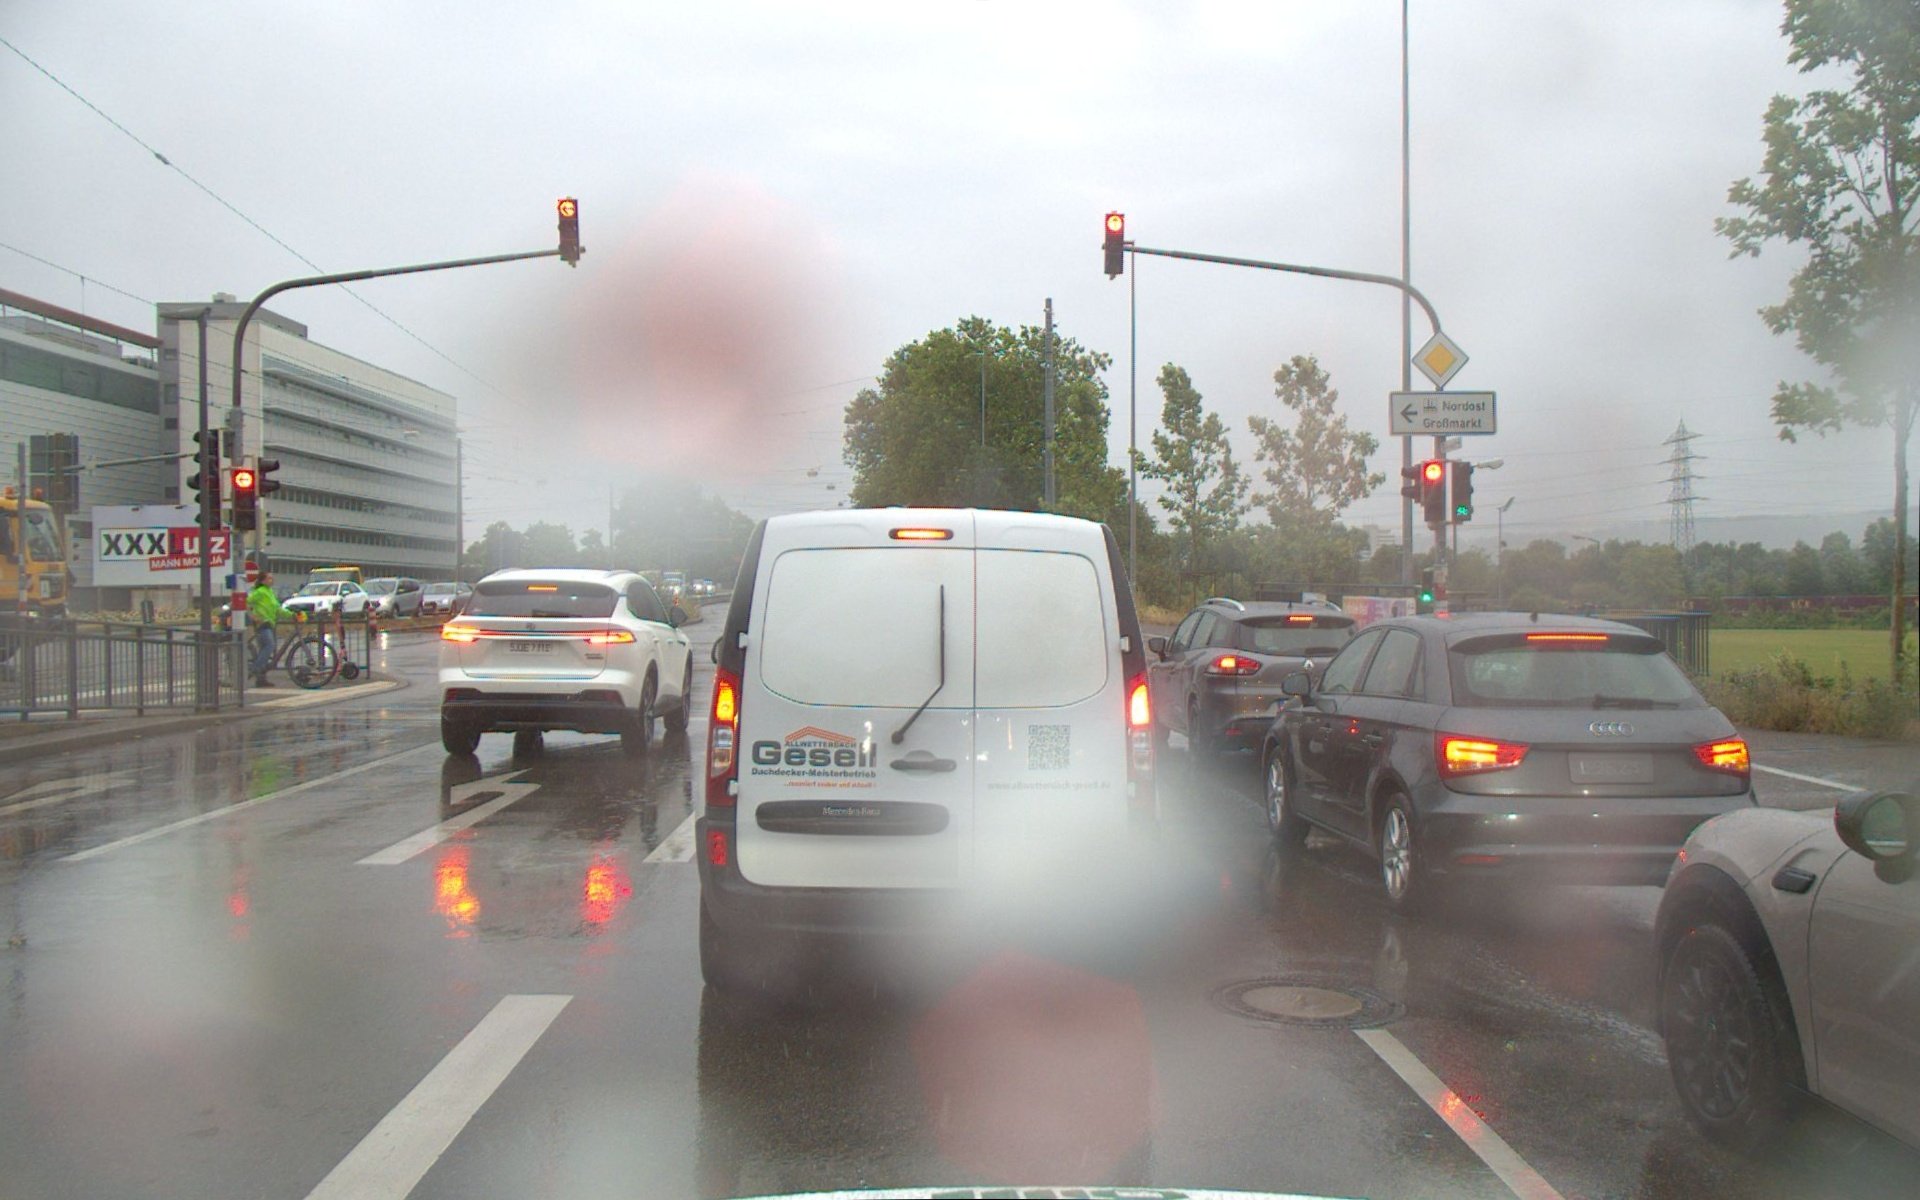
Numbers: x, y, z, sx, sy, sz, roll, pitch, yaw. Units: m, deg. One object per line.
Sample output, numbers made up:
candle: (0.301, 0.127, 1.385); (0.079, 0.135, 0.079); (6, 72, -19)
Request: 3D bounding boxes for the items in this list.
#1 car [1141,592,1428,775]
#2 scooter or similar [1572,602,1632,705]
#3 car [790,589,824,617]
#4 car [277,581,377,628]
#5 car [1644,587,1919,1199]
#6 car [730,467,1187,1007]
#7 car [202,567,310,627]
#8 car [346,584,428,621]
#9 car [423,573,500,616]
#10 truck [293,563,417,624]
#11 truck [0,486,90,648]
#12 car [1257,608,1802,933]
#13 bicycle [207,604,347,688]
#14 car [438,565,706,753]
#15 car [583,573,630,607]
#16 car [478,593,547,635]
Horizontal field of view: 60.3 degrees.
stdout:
car: (2.891, 0.686, 15.556); (1.822, 1.453, 3.806); (1, 1, -2)
scooter or similar: (7.584, 0.614, 19.565); (0.240, 1.178, 1.186); (1, 0, 1)
car: (-8.712, 0.159, 94.092); (1.585, 1.530, 3.706); (1, 0, -10)
car: (-21.670, 0.154, 56.787); (1.662, 1.518, 3.878); (1, 0, 5)
car: (2.968, 0.756, 3.212); (1.679, 1.534, 3.622); (1, 0, -2)
car: (-0.029, 0.468, 7.596); (1.534, 1.819, 3.999); (0, 0, -1)
car: (-25.293, -0.103, 59.590); (1.952, 2.049, 4.002); (1, 0, 3)
car: (-21.679, 0.110, 62.739); (1.554, 1.359, 3.832); (1, -1, 4)
car: (-21.056, -0.213, 70.028); (1.853, 1.729, 4.001); (1, 0, 3)
truck: (-24.842, -0.237, 68.324); (2.303, 2.319, 7.632); (1, 0, 0)
truck: (-19.894, -0.618, 29.753); (7.001, 2.865, 2.631); (1, 0, -14)
car: (2.790, 0.749, 8.950); (1.596, 1.368, 3.622); (1, 0, -2)
bicycle: (-9.613, 0.641, 23.292); (1.716, 1.052, 0.414); (4, -1, -3)
car: (-3.597, 0.474, 16.086); (1.694, 1.562, 4.296); (1, 1, -2)
car: (-22.111, -0.619, 103.596); (1.952, 2.049, 4.000); (1, 0, 1)
car: (-20.804, 0.648, 77.098); (1.889, 1.859, 4.002); (1, 0, 4)
